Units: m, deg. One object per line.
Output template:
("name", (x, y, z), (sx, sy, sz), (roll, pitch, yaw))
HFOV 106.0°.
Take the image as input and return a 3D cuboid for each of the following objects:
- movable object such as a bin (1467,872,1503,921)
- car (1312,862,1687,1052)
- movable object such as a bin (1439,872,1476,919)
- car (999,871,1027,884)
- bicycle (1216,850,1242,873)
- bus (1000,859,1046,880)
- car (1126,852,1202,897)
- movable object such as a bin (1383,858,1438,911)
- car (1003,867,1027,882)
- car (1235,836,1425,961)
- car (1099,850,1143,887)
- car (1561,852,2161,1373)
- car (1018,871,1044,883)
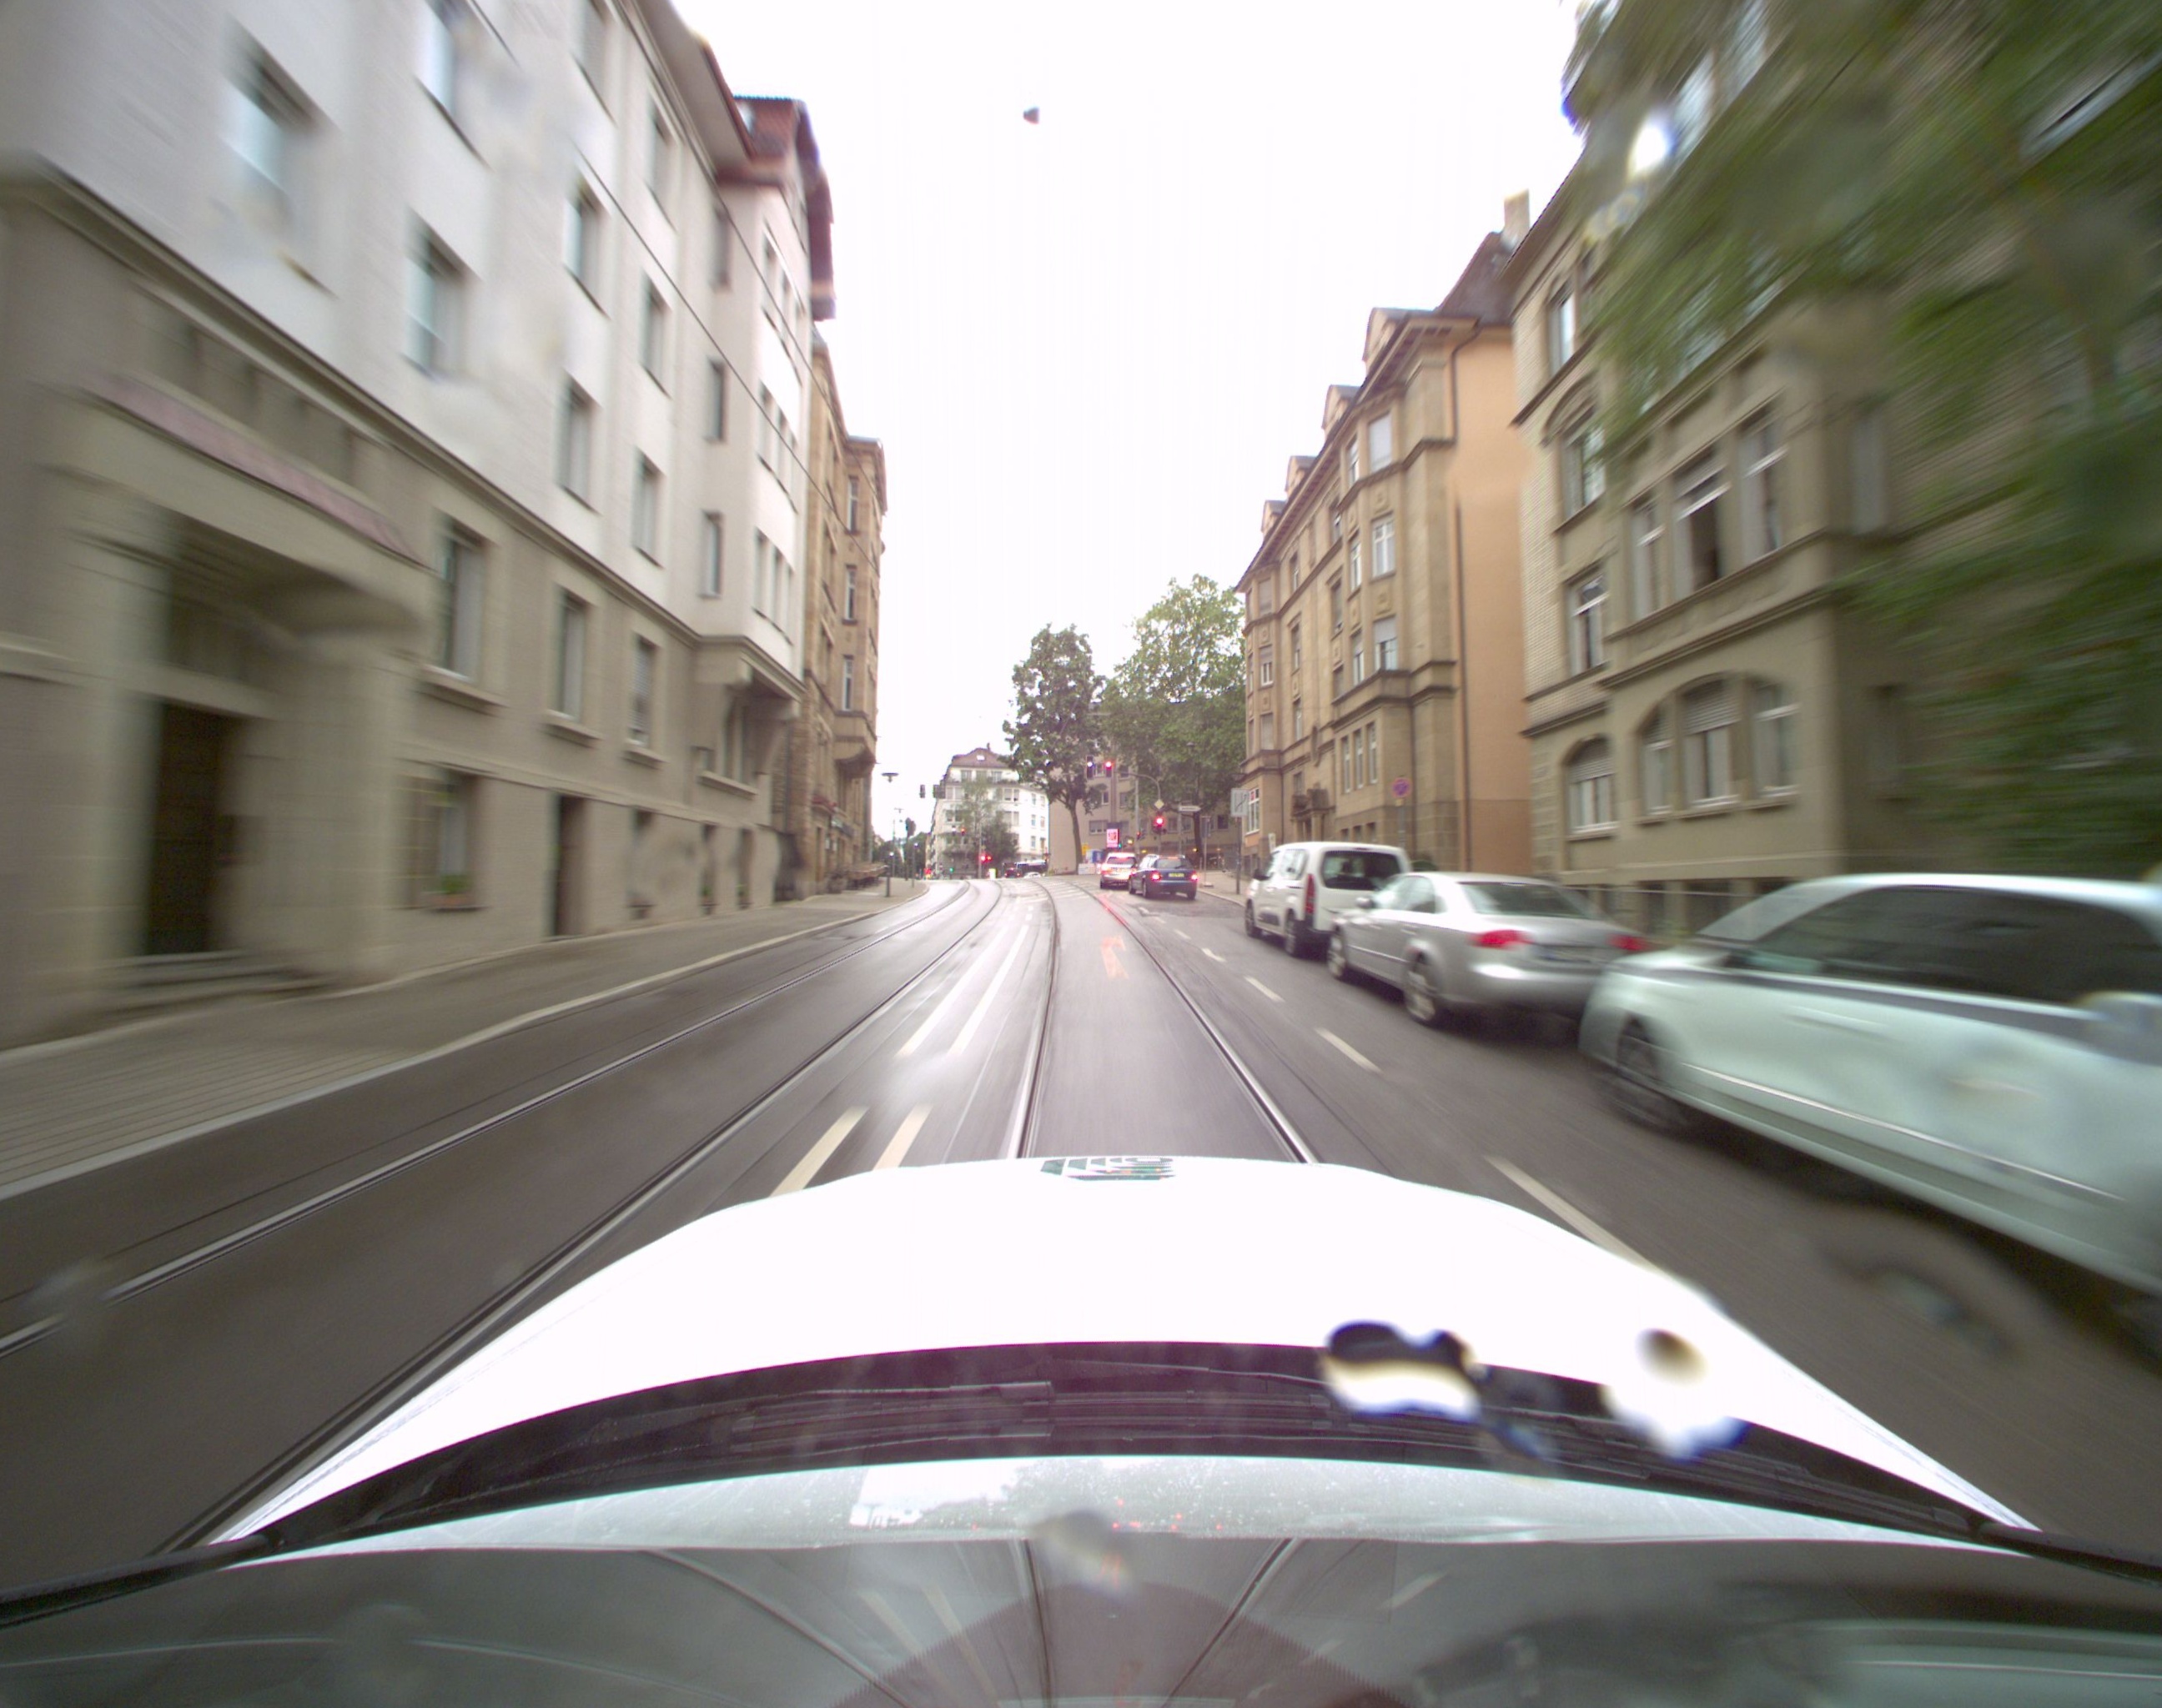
("movable object such as a bin", (9.320, 0.973, 18.797), (0.497, 1.061, 0.609), (4, -1, 0))
("car", (3.977, 0.846, 8.739), (1.743, 1.400, 4.478), (2, 0, 1))
("movable object such as a bin", (8.687, 0.951, 18.805), (0.525, 1.030, 0.665), (3, -1, 6))
("car", (-8.888, 3.051, 107.101), (1.778, 1.614, 4.024), (-1, 0, 26))
("bicycle", (8.037, 0.393, 44.231), (1.297, 1.173, 0.525), (-2, 0, -4))
("bus", (-8.310, 2.227, 118.094), (2.829, 2.861, 8.781), (-1, 0, 23))
("car", (2.779, 0.658, 28.193), (1.709, 1.415, 4.025), (1, 0, -8))
("movable object such as a bin", (9.542, 0.869, 23.656), (0.969, 1.432, 1.278), (4, -1, -3))
("car", (-7.347, 2.265, 91.074), (1.784, 1.510, 4.008), (-3, 0, 7))
("car", (4.047, 0.644, 14.069), (1.792, 1.765, 4.460), (2, 0, -1))
("car", (1.622, 0.567, 34.097), (1.704, 1.456, 3.553), (1, 0, 1))
("car", (3.989, 0.794, 3.580), (1.556, 1.546, 3.582), (2, 0, -1))
("car", (-6.803, 3.202, 112.052), (1.778, 1.510, 4.024), (-1, 0, 26))
